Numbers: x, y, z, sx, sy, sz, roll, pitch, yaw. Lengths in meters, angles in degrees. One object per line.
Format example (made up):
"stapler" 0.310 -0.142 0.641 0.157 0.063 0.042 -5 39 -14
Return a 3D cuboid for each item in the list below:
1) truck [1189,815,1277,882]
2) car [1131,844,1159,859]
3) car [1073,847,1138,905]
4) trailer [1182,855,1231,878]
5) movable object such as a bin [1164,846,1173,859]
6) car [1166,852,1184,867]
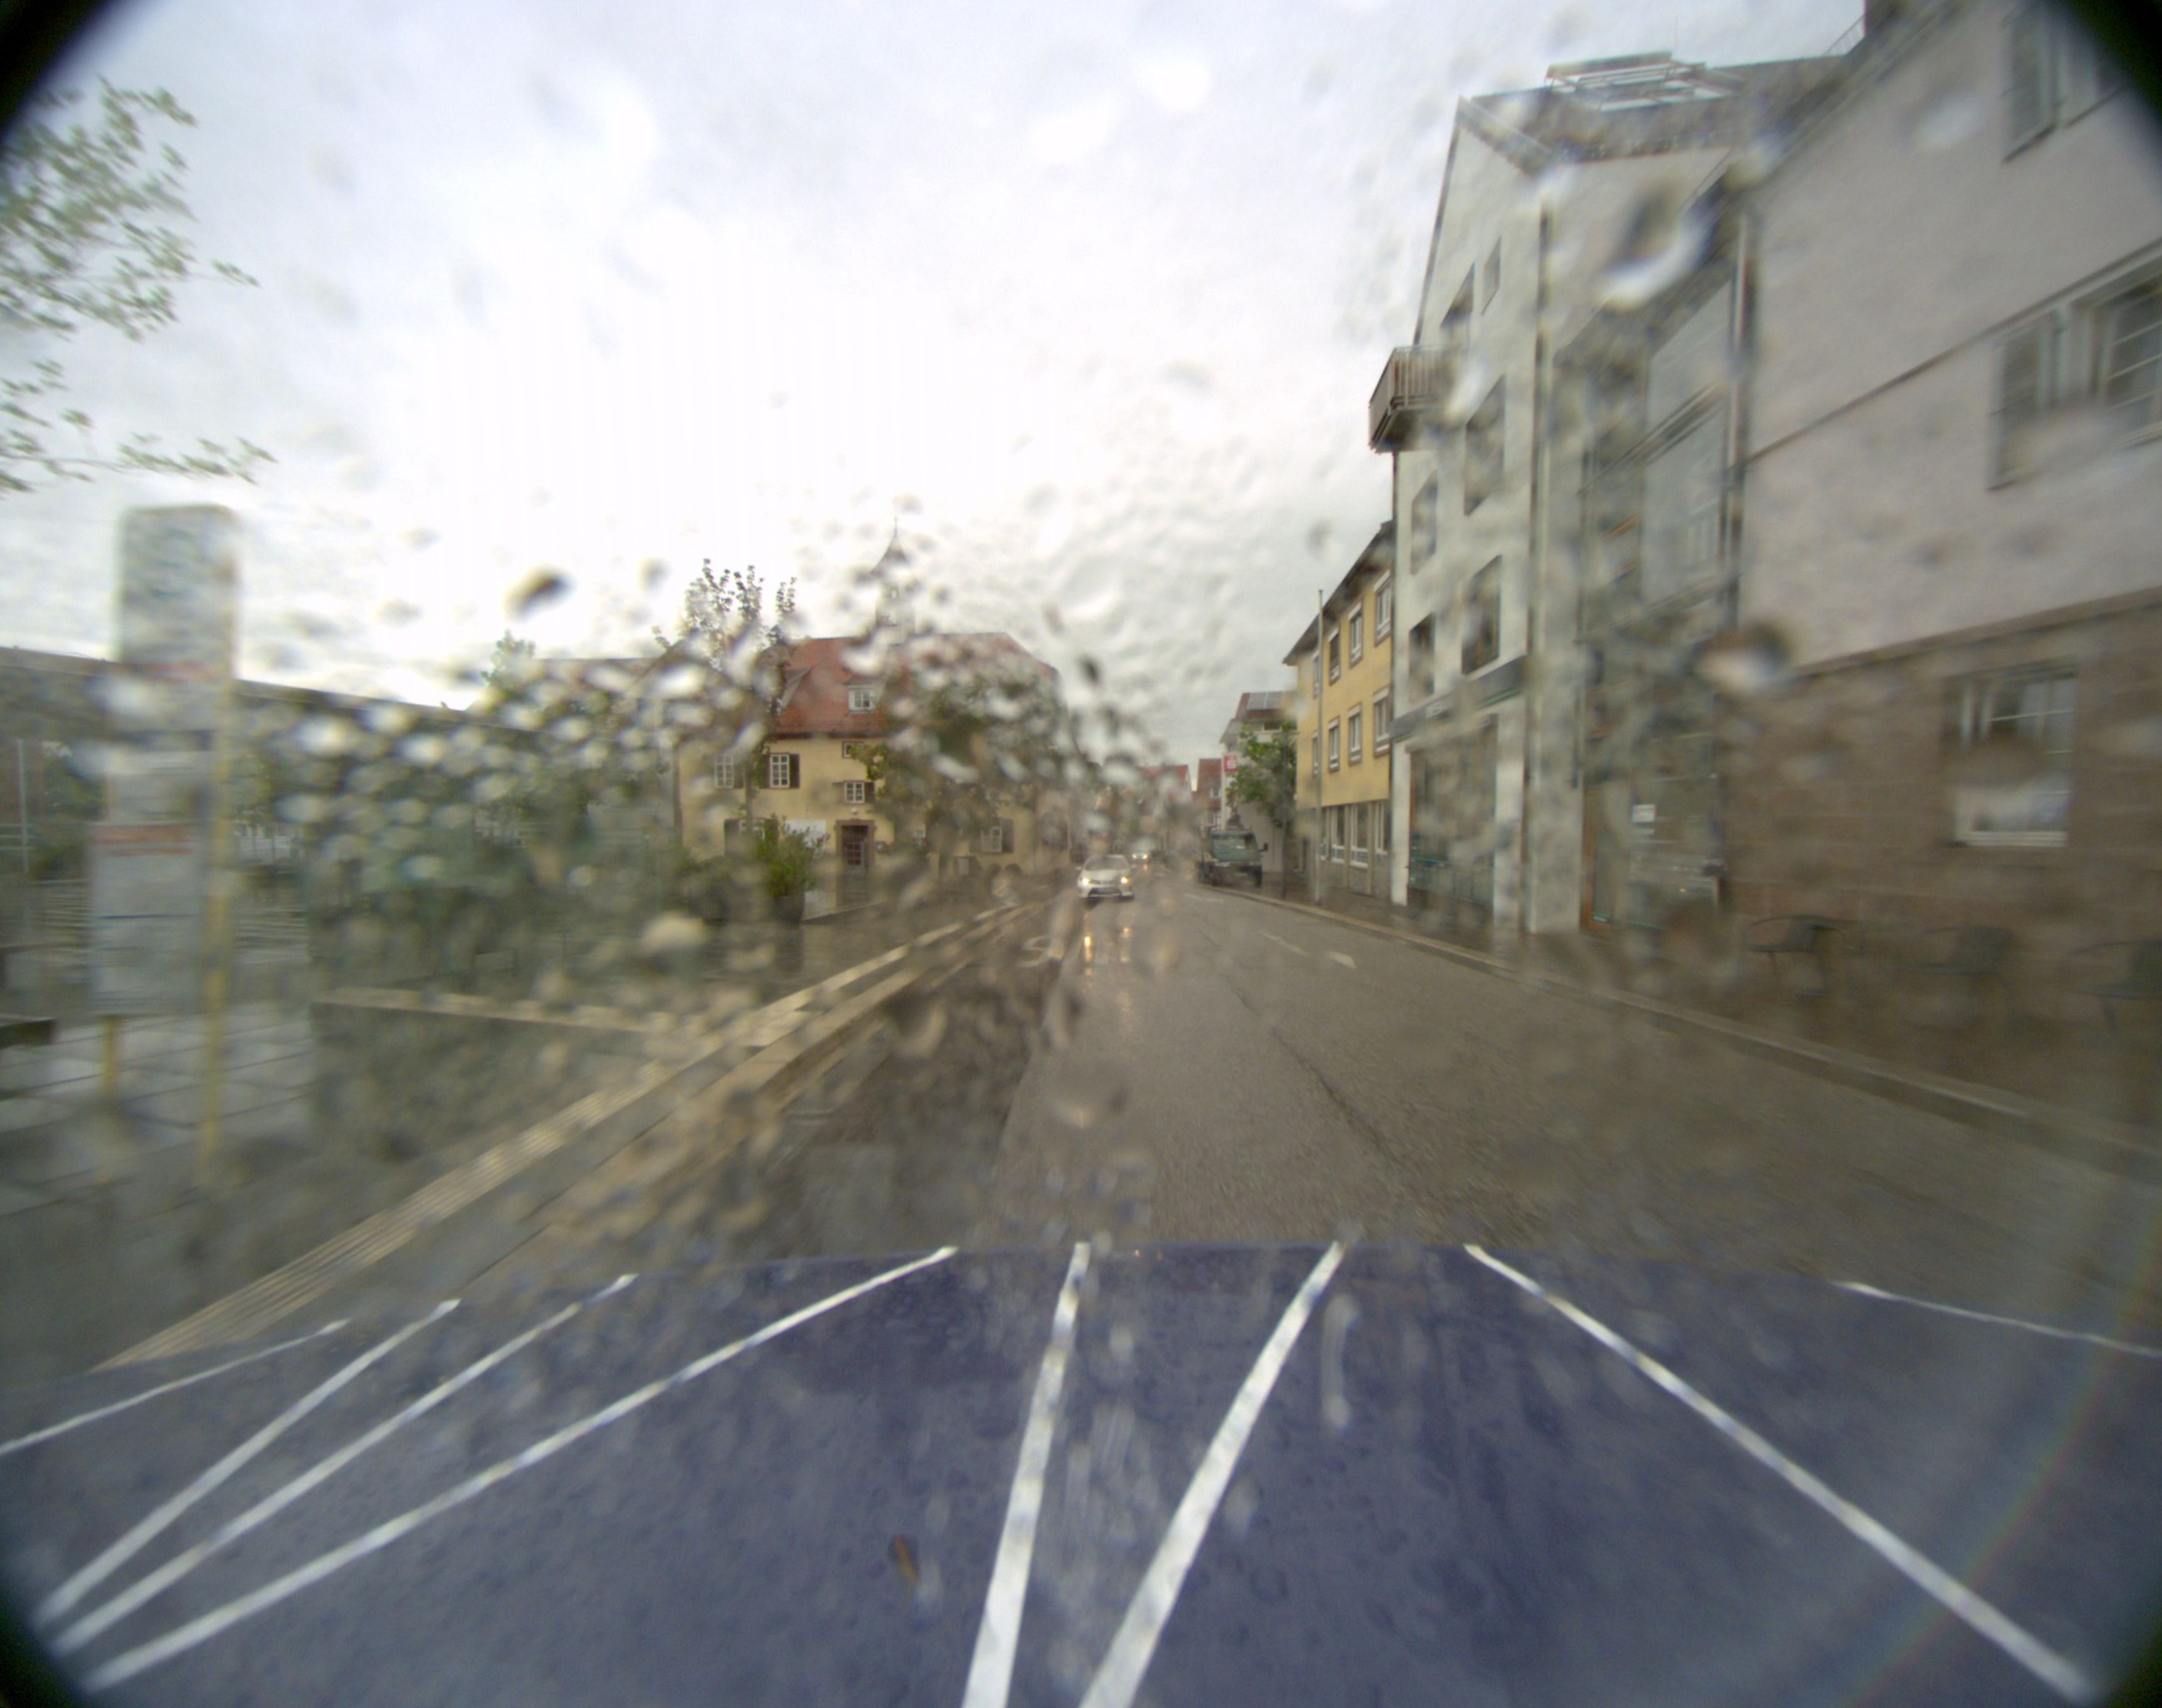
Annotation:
"truck" 6.314 -0.177 32.592 2.406 2.579 6.483 0 -1 -1
"car" 6.797 -0.244 80.302 1.865 1.452 4.005 2 2 20
"car" 0.877 0.620 24.383 1.867 1.578 4.614 0 2 4
"trailer" 6.142 0.616 37.356 1.857 1.118 3.019 0 -1 -1
"movable object such as a bin" 7.450 -0.107 64.474 0.697 1.071 0.645 -2 2 5
"car" 9.955 0.517 80.357 1.805 1.434 4.002 -1 2 9
